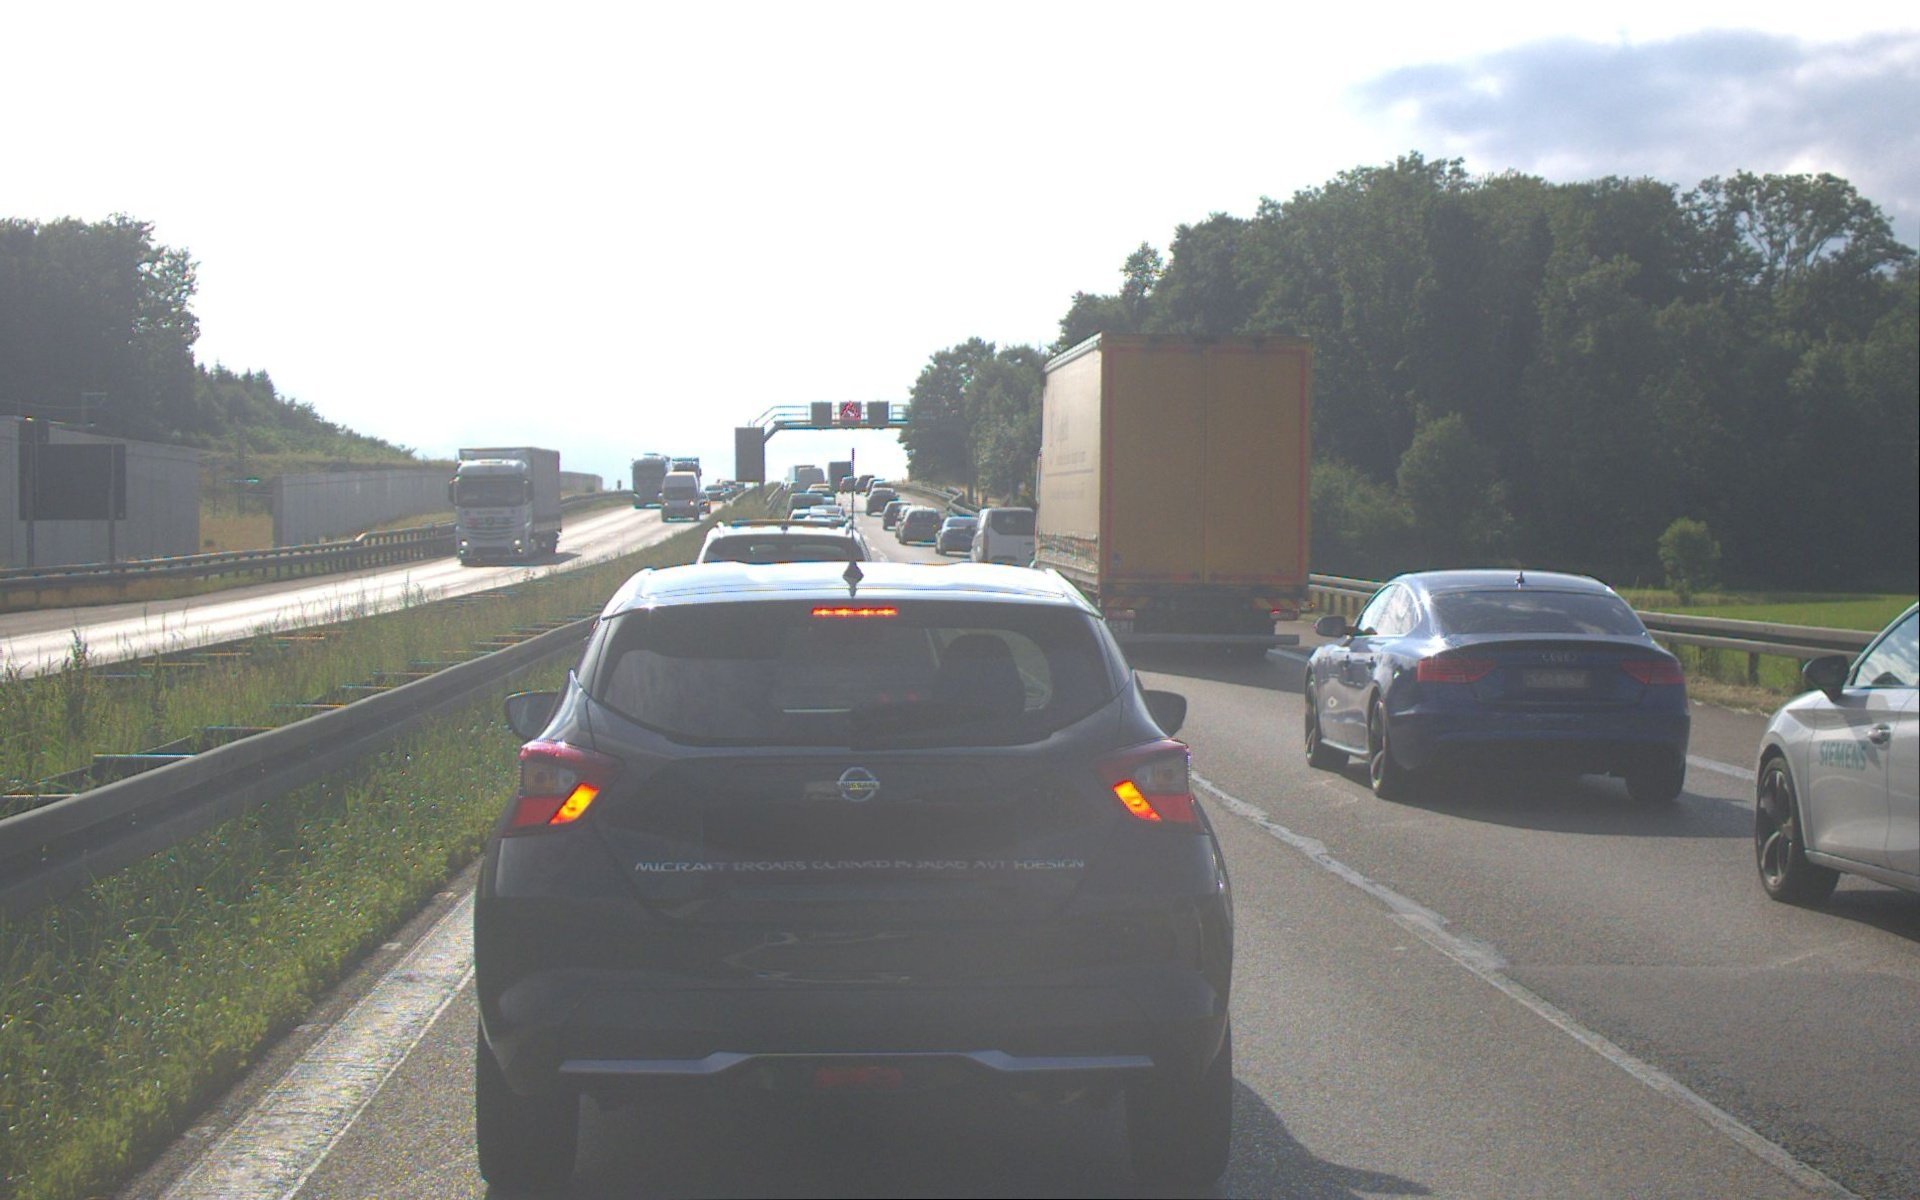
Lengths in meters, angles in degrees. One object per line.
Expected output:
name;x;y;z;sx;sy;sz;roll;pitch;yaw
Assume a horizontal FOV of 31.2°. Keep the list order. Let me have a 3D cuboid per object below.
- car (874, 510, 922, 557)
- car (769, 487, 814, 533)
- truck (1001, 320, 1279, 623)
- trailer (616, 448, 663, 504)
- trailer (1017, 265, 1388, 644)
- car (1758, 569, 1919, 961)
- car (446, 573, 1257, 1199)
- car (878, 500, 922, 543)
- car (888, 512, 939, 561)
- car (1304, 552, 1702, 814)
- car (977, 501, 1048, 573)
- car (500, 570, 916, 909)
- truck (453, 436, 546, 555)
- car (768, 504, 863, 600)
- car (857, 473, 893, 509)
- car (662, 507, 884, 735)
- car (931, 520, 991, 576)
car;-2.767;-2.948;152.348;1.993;2.007;4.001;1;1;-3
car;-7.634;-4.057;155.985;1.993;2.007;4.001;1;1;-3
truck;2.669;-1.912;53.502;3.581;4.364;6.689;1;1;-3
trailer;-23.582;-9.097;253.471;2.540;3.758;12.542;-1;1;-1
trailer;2.980;-1.787;47.080;3.548;4.442;12.723;1;1;-3
car;4.354;0.617;12.647;1.620;1.440;4.147;1;0;-4
car;-0.250;0.650;8.999;1.710;1.421;3.378;1;0;-1
car;-2.960;-3.854;168.974;1.993;2.007;4.001;1;1;-3
car;-1.974;-2.672;144.695;1.993;2.007;4.001;1;1;-3
car;3.288;0.452;21.578;1.747;1.470;4.147;1;0;-1
car;1.294;-1.558;85.527;1.667;1.748;3.327;1;1;-1
car;-1.062;0.552;15.784;1.674;1.362;3.596;1;0;-1
truck;-16.405;-3.670;122.873;2.637;4.084;7.003;1;1;-3
car;-3.162;-1.043;74.878;1.993;2.007;4.001;1;1;-3
car;-5.017;-6.427;202.646;1.993;2.007;4.001;1;1;-3
car;-1.462;0.145;27.954;1.674;1.720;3.596;1;0;-1
car;0.031;-1.905;126.994;1.993;2.007;4.001;1;1;-3
